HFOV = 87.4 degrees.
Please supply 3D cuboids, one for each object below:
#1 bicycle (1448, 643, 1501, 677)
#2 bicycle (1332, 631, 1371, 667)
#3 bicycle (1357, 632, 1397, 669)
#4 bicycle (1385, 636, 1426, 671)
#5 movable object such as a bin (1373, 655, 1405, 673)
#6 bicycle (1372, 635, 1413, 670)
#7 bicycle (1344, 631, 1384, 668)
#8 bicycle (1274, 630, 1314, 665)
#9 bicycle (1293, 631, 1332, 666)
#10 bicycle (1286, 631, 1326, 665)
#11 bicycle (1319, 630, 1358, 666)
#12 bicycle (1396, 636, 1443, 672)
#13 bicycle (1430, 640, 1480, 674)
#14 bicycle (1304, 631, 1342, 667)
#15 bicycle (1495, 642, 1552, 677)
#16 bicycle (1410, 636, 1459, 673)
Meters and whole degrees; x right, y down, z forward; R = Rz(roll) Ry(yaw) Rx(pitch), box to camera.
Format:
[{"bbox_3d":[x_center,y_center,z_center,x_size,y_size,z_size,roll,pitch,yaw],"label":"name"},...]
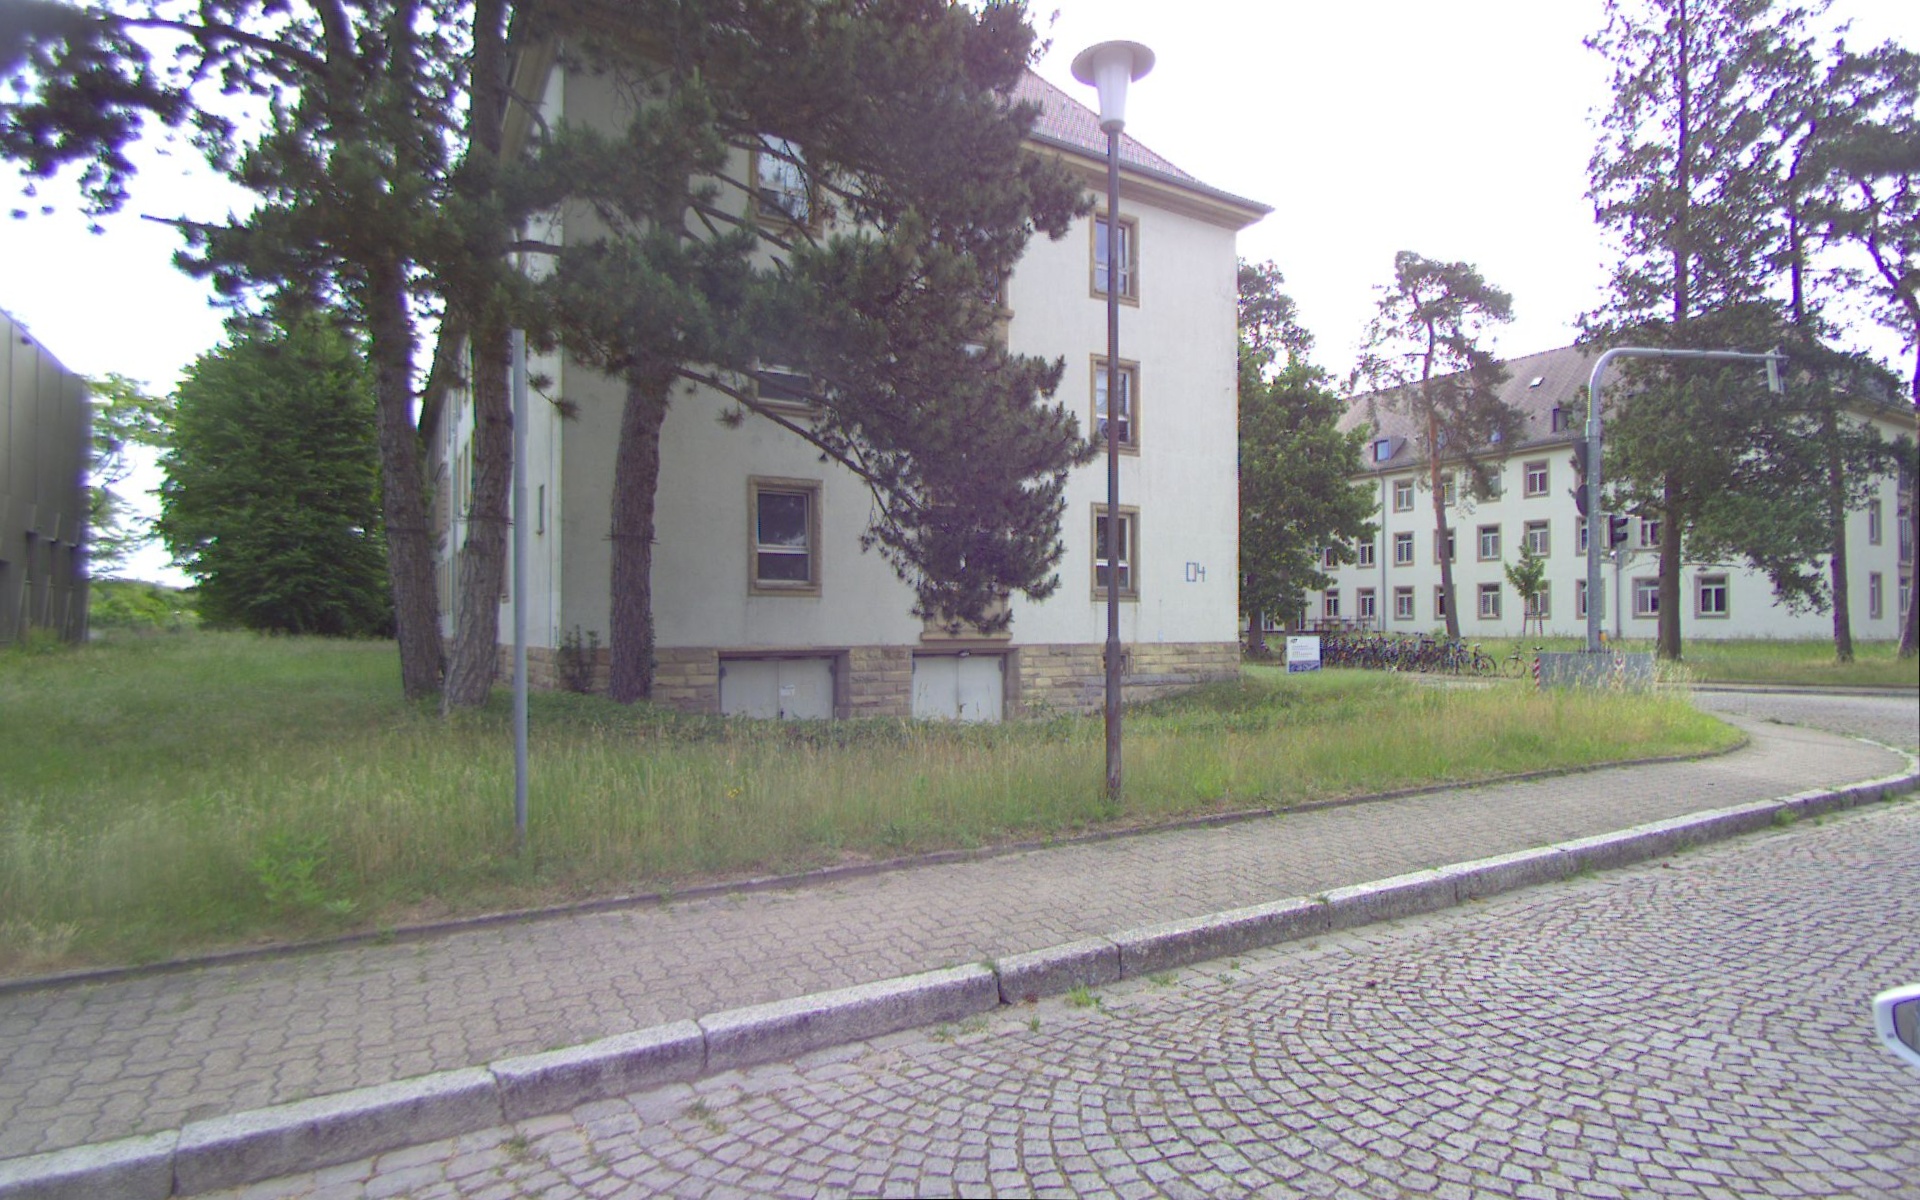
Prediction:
[{"bbox_3d":[16.008,1.863,31.279,0.447,1.009,1.453,1,-2,-29],"label":"bicycle"},{"bbox_3d":[14.327,1.777,36.755,1.677,1.300,0.446,1,-2,-33],"label":"bicycle"},{"bbox_3d":[14.917,1.779,35.924,1.677,1.300,0.446,1,-2,-33],"label":"bicycle"},{"bbox_3d":[15.454,1.842,34.849,1.677,1.193,0.446,1,-2,-33],"label":"bicycle"},{"bbox_3d":[12.514,1.868,29.304,0.439,0.510,0.746,1,-2,-30],"label":"movable object such as a bin"},{"bbox_3d":[15.190,1.829,35.255,1.677,1.193,0.446,1,-2,-33],"label":"bicycle"},{"bbox_3d":[14.625,1.778,36.335,1.677,1.300,0.446,1,-2,-33],"label":"bicycle"},{"bbox_3d":[12.982,1.834,39.030,1.808,1.300,0.446,1,-2,-33],"label":"bicycle"},{"bbox_3d":[13.403,1.830,38.194,1.677,1.300,0.446,1,-2,-33],"label":"bicycle"},{"bbox_3d":[13.329,1.841,38.702,1.766,1.300,0.440,1,-2,-33],"label":"bicycle"},{"bbox_3d":[14.021,1.777,37.226,1.677,1.300,0.446,1,-2,-33],"label":"bicycle"},{"bbox_3d":[15.762,1.830,34.439,1.909,1.193,0.524,1,-2,-33],"label":"bicycle"},{"bbox_3d":[16.453,1.892,33.366,1.975,1.092,0.571,1,-2,-33],"label":"bicycle"},{"bbox_3d":[13.660,1.831,37.782,1.677,1.300,0.446,1,-2,-33],"label":"bicycle"},{"bbox_3d":[16.803,1.769,29.981,0.447,1.009,1.453,1,-2,-29],"label":"bicycle"},{"bbox_3d":[16.021,1.829,33.912,1.933,1.193,0.571,1,-2,-33],"label":"bicycle"}]
